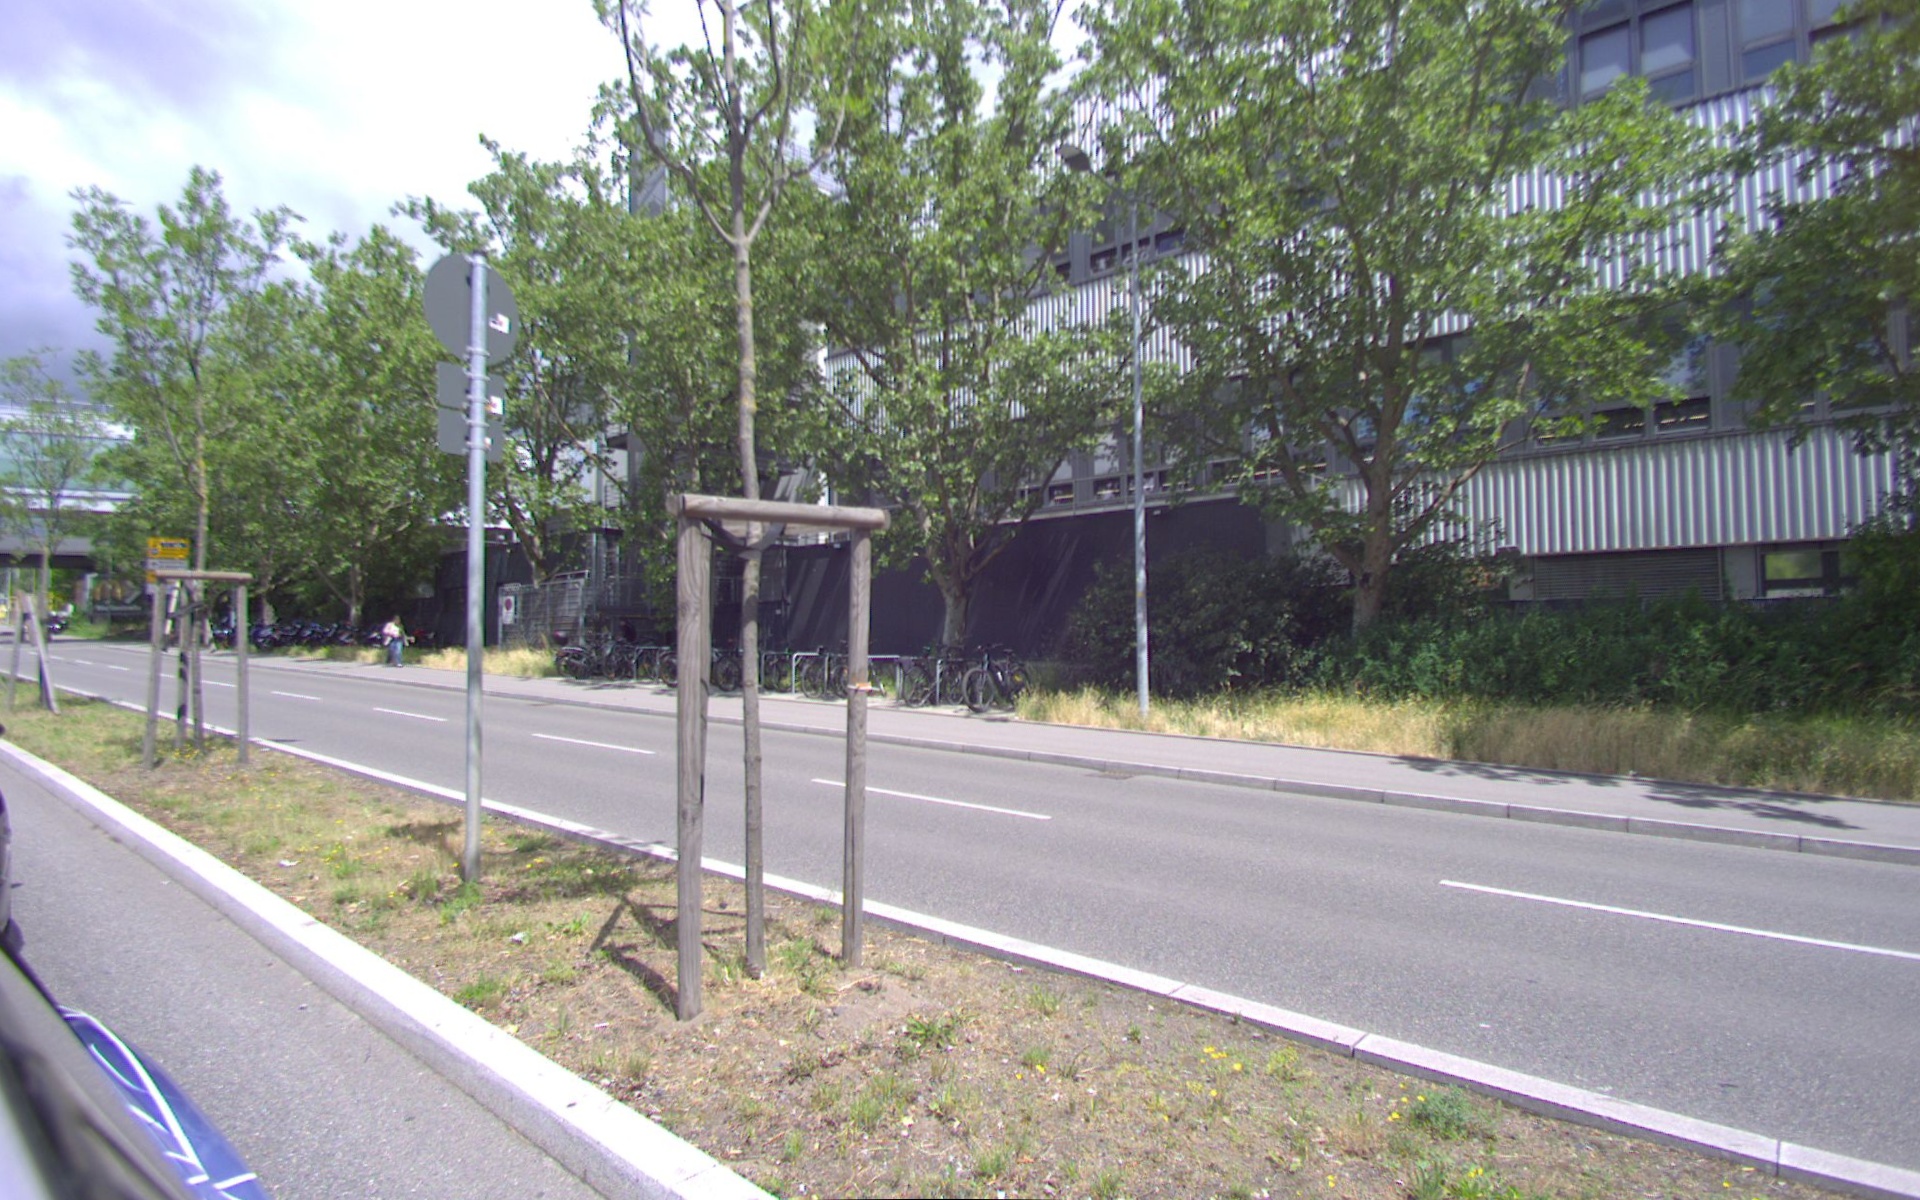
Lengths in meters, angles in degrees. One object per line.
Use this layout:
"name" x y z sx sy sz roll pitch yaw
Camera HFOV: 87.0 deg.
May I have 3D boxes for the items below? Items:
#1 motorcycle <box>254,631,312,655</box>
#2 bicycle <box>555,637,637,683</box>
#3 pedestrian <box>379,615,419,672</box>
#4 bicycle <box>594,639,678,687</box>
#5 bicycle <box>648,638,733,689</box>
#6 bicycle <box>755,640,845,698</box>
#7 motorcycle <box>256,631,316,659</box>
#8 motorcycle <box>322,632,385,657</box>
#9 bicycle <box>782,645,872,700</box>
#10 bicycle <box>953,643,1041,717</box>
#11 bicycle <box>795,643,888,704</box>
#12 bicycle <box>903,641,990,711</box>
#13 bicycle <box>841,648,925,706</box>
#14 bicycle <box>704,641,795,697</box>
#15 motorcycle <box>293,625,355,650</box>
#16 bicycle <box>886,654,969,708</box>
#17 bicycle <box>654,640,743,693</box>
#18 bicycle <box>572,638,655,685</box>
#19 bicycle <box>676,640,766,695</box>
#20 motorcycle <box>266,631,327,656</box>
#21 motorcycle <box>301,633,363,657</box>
"motorcycle" -30.154 1.912 45.096 0.534 0.976 2.105 -2 -1 41
"bicycle" -9.544 1.552 26.624 0.382 1.119 2.101 -2 -1 43
"pedestrian" -17.493 1.340 31.552 0.672 1.734 0.888 -1 -2 41
"bicycle" -8.158 1.567 25.530 0.382 1.119 2.101 -2 -1 43
"bicycle" -6.478 1.511 24.406 0.382 1.119 2.101 -2 -1 43
"bicycle" -3.410 1.457 21.743 0.382 1.119 2.101 -2 -1 43
"motorcycle" -29.298 1.962 44.009 0.534 1.146 2.105 -2 -1 41
"motorcycle" -23.872 1.747 39.867 0.534 0.905 2.105 -2 -1 41
"bicycle" -2.741 1.480 21.129 0.382 1.038 2.101 -2 -1 43
"bicycle" 0.662 1.340 17.390 0.381 1.137 1.968 -2 -1 39
"bicycle" -2.338 1.436 20.221 0.382 1.104 2.101 -2 -1 43
"bicycle" -0.217 1.336 18.112 0.381 1.137 1.968 -2 -1 39
"bicycle" -1.467 1.478 19.699 0.381 1.005 1.968 -2 -1 39
"bicycle" -4.541 1.480 22.009 0.382 1.119 2.101 -2 -1 43
"motorcycle" -26.405 1.540 42.030 0.534 0.976 2.105 -2 -1 41
"bicycle" -0.595 1.522 19.213 0.381 0.897 1.968 -2 -1 39
"bicycle" -5.988 1.500 23.256 0.382 1.119 2.101 -2 -1 43
"bicycle" -8.903 1.571 26.078 0.382 1.119 2.101 -2 -1 43
"bicycle" -5.331 1.489 22.660 0.382 1.119 2.101 -2 -1 43
"motorcycle" -28.155 1.828 42.948 0.534 0.976 2.105 -2 -1 41
"motorcycle" -25.595 1.827 41.260 0.534 0.892 2.105 -2 -1 41
